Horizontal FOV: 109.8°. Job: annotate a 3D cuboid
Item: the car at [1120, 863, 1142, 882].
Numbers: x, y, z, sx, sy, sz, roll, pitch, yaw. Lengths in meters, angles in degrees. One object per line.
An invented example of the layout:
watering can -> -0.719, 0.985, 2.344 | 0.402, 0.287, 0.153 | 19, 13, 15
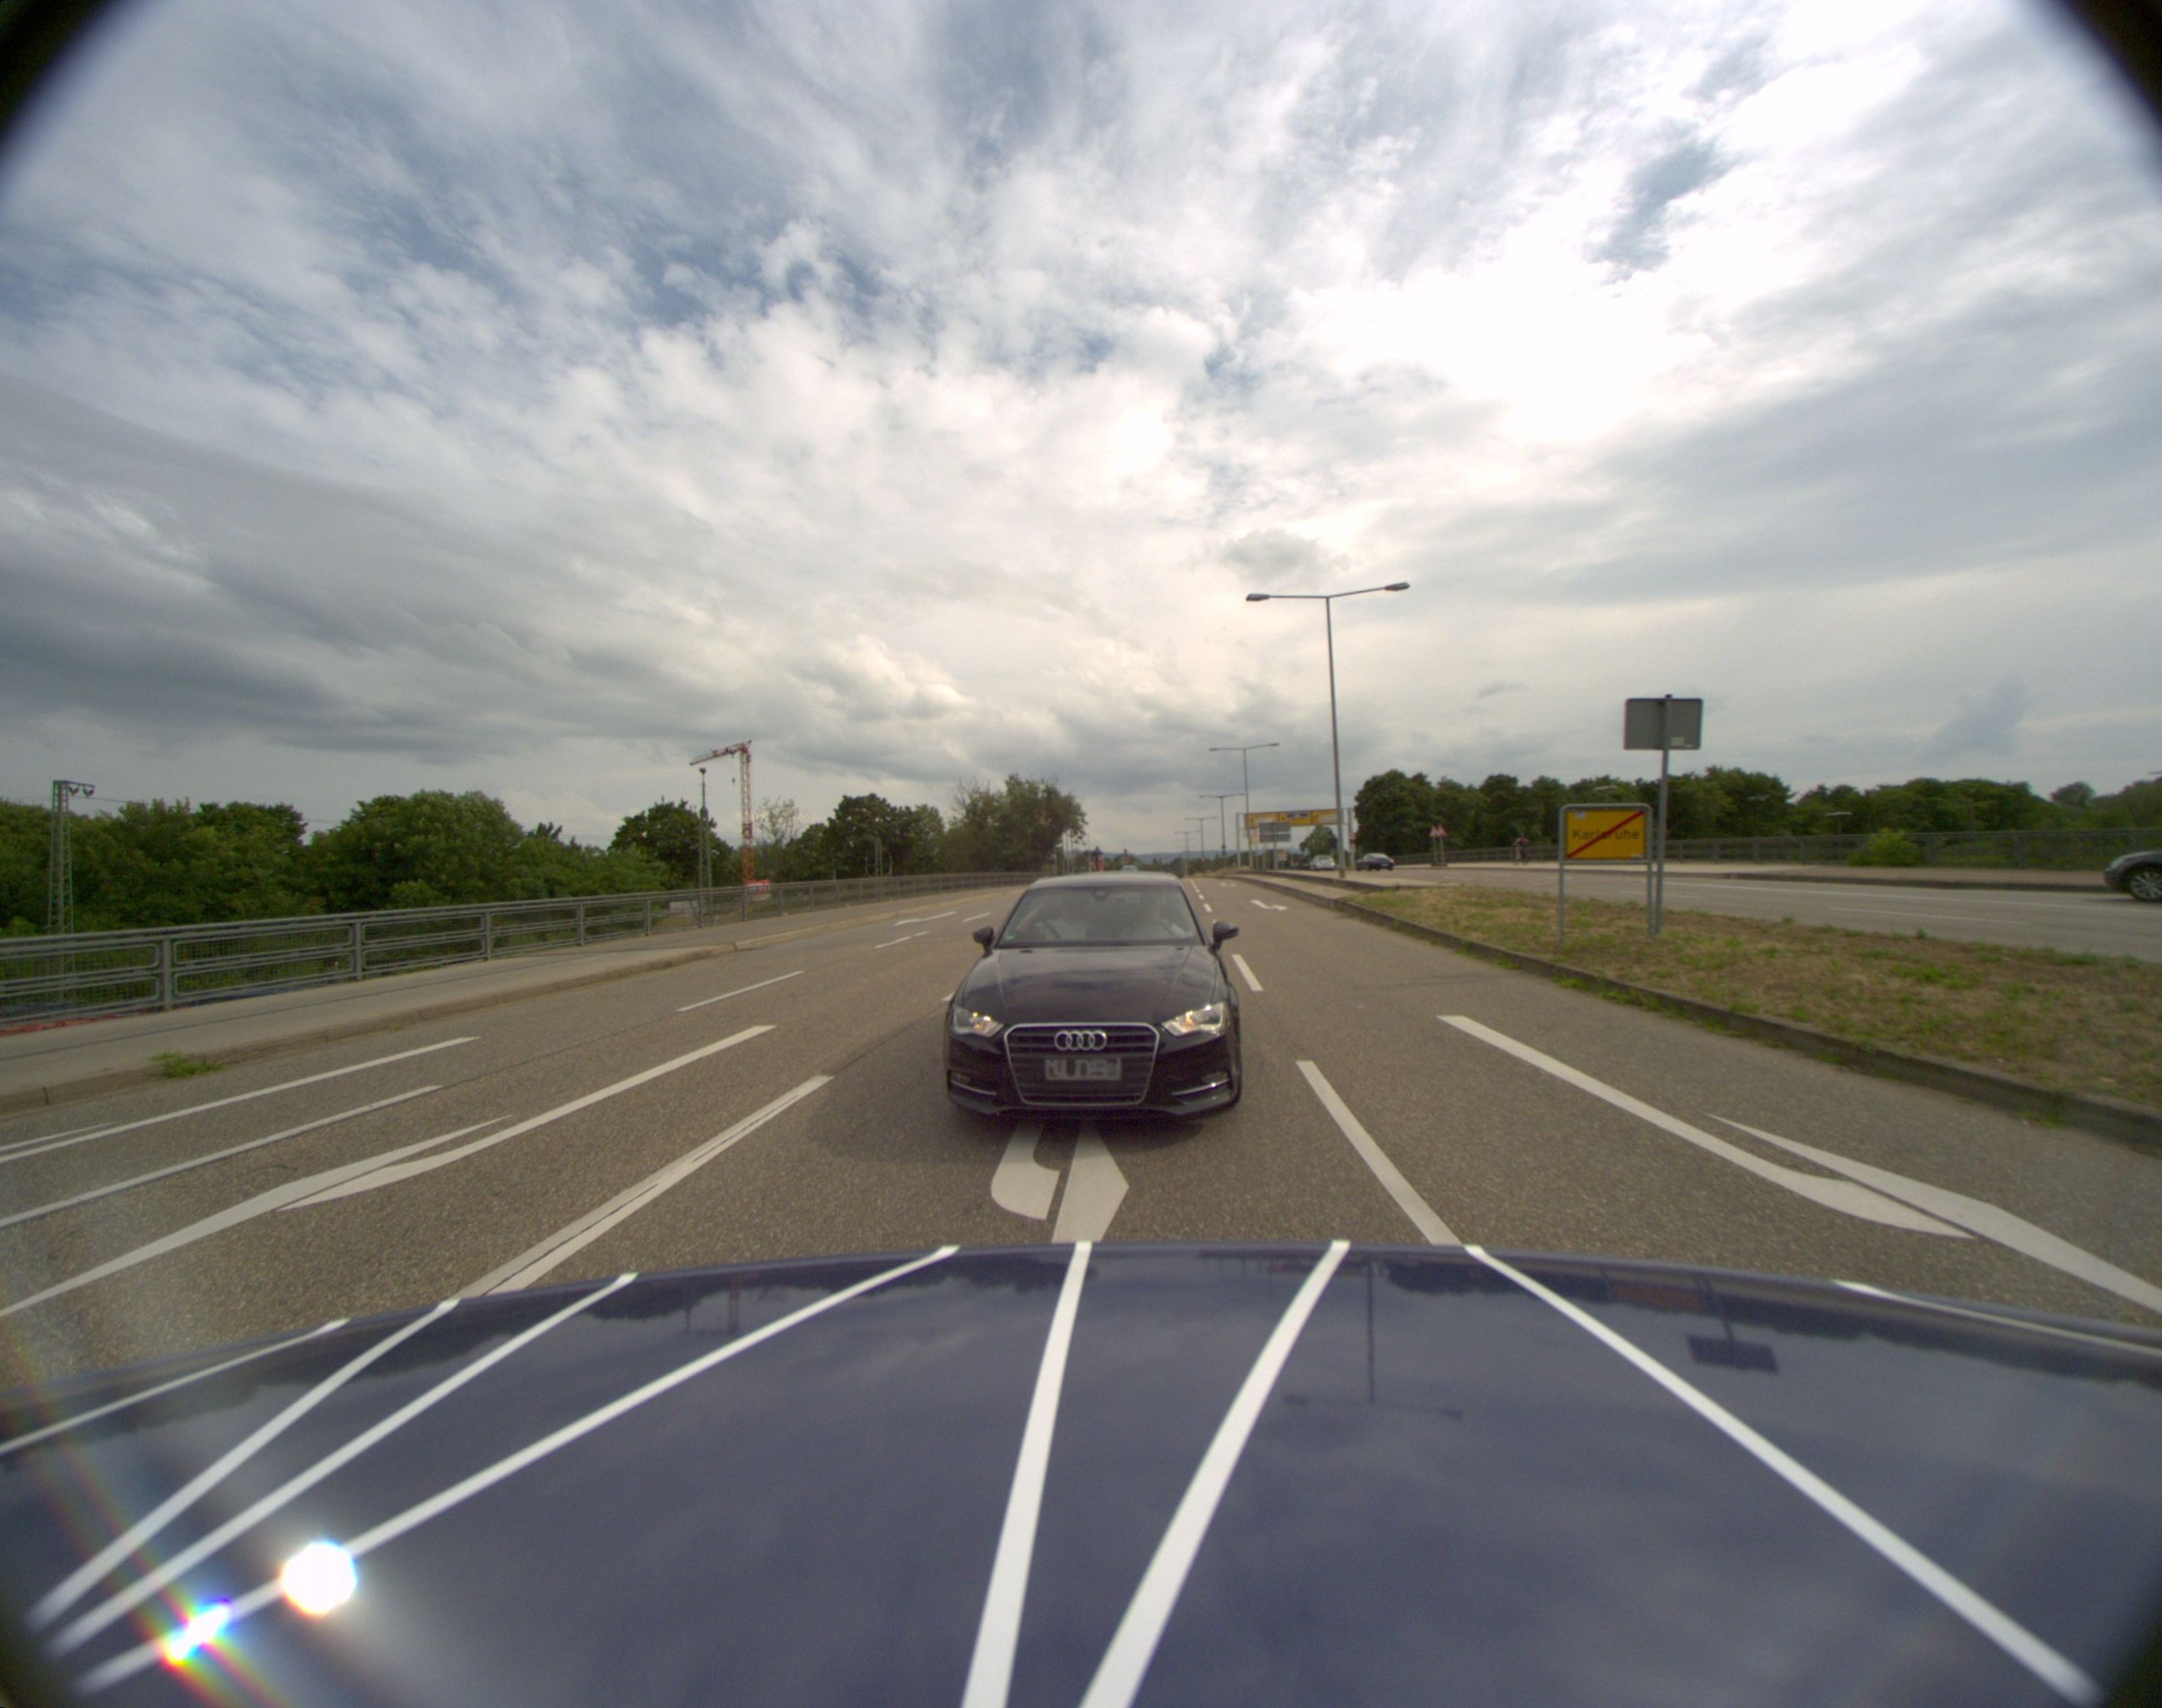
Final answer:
car -> 4.795, 1.767, 72.599 | 1.724, 1.512, 3.952 | -4, 0, 9

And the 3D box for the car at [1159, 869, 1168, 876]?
car -> 18.049, 4.100, 165.992 | 1.860, 1.335, 4.002 | -2, 0, 7

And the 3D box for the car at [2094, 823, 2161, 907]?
car -> 19.322, 0.161, 11.770 | 1.798, 1.410, 3.998 | -2, 0, -6

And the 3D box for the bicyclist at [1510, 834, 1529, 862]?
bicyclist -> 26.027, -0.349, 45.135 | 0.685, 1.662, 0.848 | -3, 0, 10

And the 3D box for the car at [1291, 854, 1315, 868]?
car -> 24.044, 0.775, 82.327 | 1.745, 1.402, 3.878 | -1, 0, 5

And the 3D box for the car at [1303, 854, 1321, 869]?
car -> 28.478, 0.907, 93.754 | 1.745, 1.649, 4.082 | -1, 0, 11

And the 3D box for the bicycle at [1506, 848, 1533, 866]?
bicycle -> 26.044, 0.163, 45.187 | 0.685, 1.047, 1.996 | -3, 0, 10

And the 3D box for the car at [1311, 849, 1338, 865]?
car -> 22.042, 0.264, 68.897 | 1.619, 1.402, 3.862 | -1, 0, 6

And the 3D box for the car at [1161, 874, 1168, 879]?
car -> 23.232, 6.292, 212.375 | 1.860, 1.335, 4.002 | -2, 0, 7

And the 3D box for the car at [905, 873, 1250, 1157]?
car -> 0.240, 0.952, 6.501 | 1.851, 1.355, 4.731 | -2, 0, 7

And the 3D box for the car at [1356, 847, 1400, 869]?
car -> 21.718, 0.276, 55.778 | 1.825, 1.438, 4.354 | -2, 0, 5
